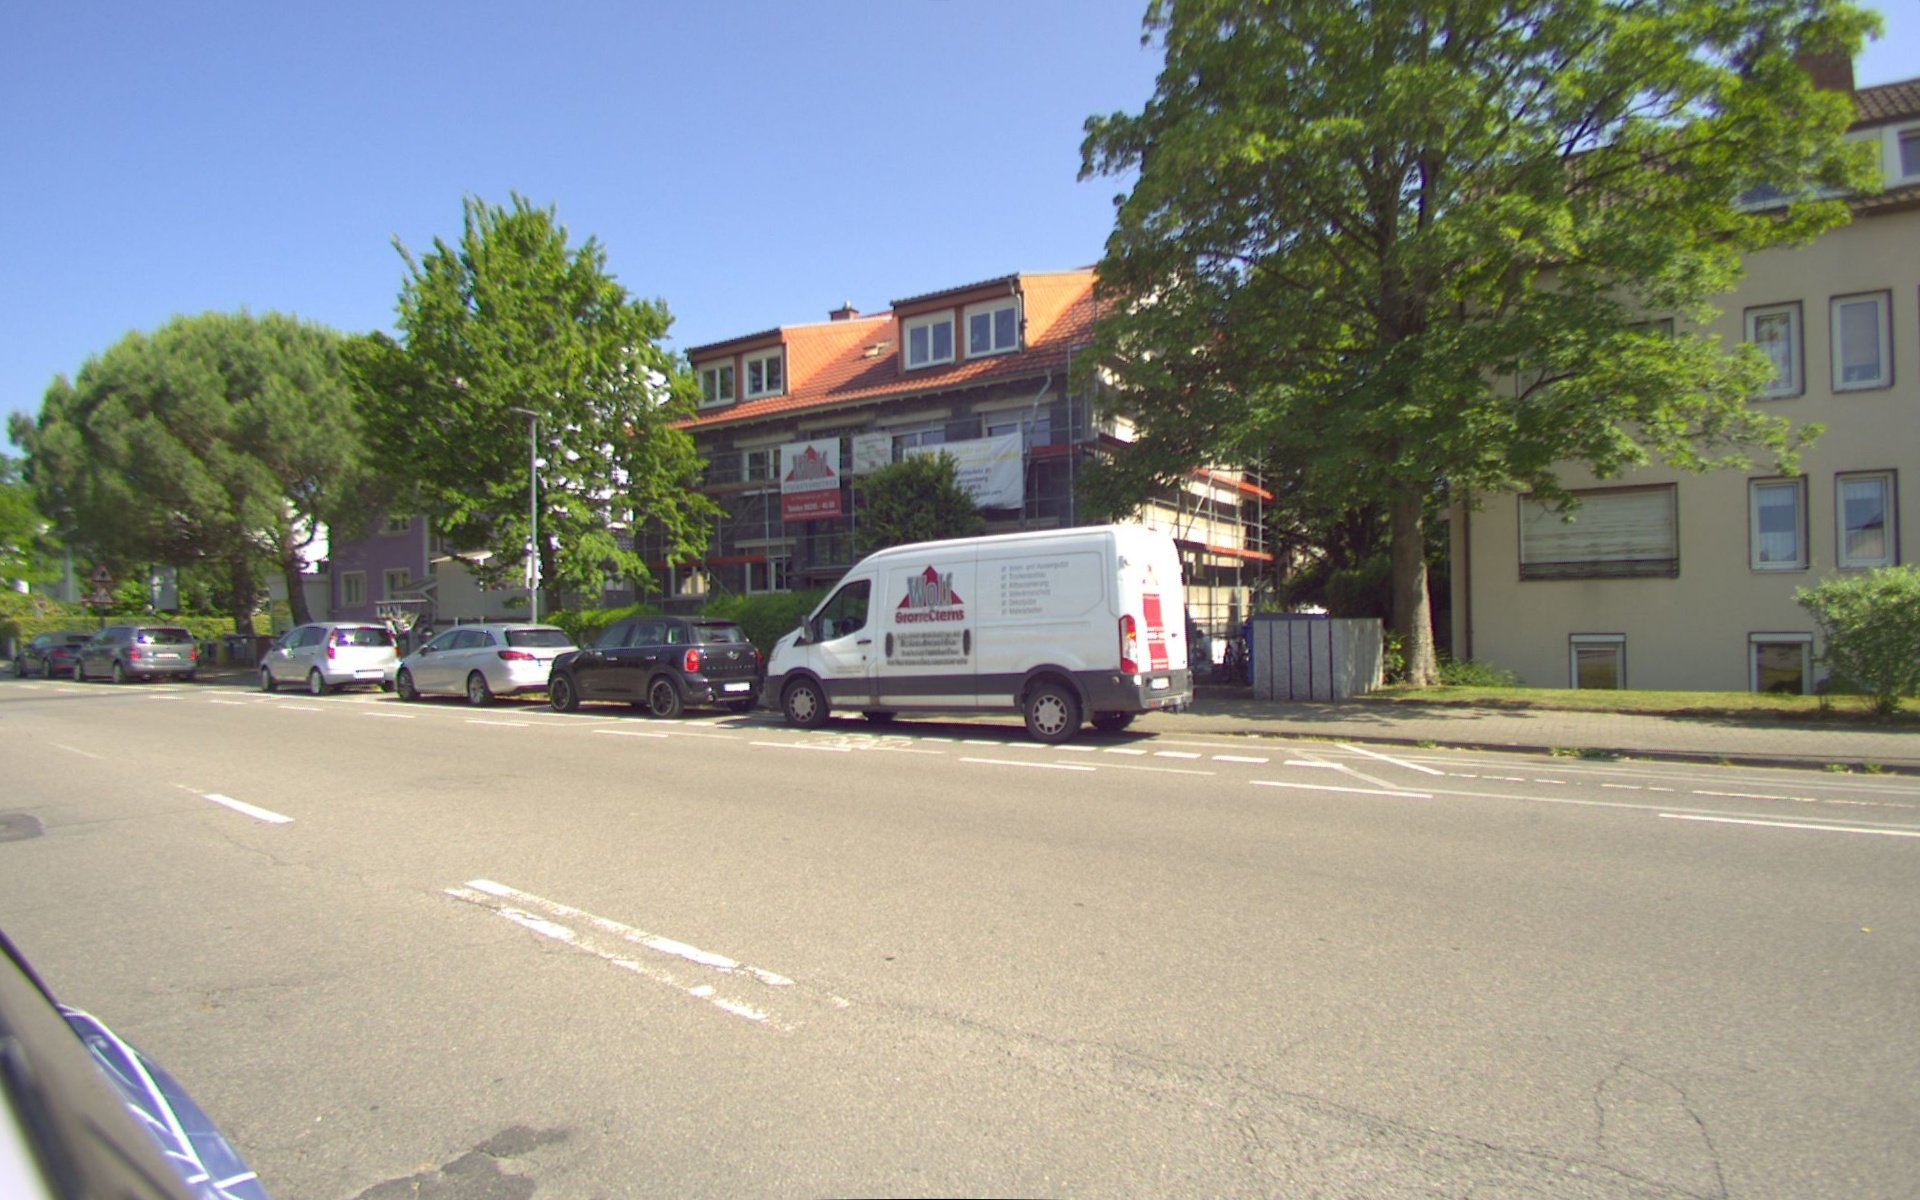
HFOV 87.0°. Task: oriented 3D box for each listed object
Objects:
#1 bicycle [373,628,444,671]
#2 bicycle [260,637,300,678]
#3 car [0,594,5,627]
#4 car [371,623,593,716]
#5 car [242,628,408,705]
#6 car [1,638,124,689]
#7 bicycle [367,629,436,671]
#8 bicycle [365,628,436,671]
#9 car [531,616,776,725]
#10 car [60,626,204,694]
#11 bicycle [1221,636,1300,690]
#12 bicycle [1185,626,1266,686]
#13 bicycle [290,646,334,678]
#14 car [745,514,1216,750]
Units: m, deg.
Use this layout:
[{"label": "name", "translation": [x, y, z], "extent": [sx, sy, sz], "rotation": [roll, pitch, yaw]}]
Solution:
[{"label": "bicycle", "translation": [-18.554, 1.646, 34.127], "extent": [0.501, 1.394, 2.156], "rotation": [-2, -3, 30]}, {"label": "bicycle", "translation": [-21.809, 1.823, 32.447], "extent": [1.909, 1.276, 0.454], "rotation": [-2, -1, 36]}, {"label": "car", "translation": [-57.532, 0.598, 57.981], "extent": [2.000, 1.830, 3.942], "rotation": [-3, -3, 43]}, {"label": "car", "translation": [-9.091, 1.271, 19.096], "extent": [4.661, 1.571, 1.705], "rotation": [-2, -3, 35]}, {"label": "car", "translation": [-14.176, 1.452, 22.529], "extent": [3.990, 1.571, 1.705], "rotation": [-2, -3, 35]}, {"label": "car", "translation": [-27.899, 1.955, 31.437], "extent": [4.181, 1.468, 1.826], "rotation": [-2, -3, 33]}, {"label": "bicycle", "translation": [-19.296, 1.715, 35.009], "extent": [0.501, 1.394, 2.156], "rotation": [-2, -3, 30]}, {"label": "bicycle", "translation": [-19.013, 1.672, 34.431], "extent": [0.501, 1.394, 2.156], "rotation": [-2, -3, 30]}, {"label": "car", "translation": [-5.004, 1.098, 16.347], "extent": [3.990, 1.571, 1.705], "rotation": [-2, -3, 35]}, {"label": "car", "translation": [-23.330, 1.670, 28.474], "extent": [4.572, 1.778, 1.826], "rotation": [-2, -3, 33]}, {"label": "bicycle", "translation": [6.413, 1.306, 21.502], "extent": [0.774, 1.008, 2.668], "rotation": [-2, -1, 35]}, {"label": "bicycle", "translation": [5.797, 1.173, 21.969], "extent": [0.774, 1.179, 2.668], "rotation": [-2, -1, 35]}, {"label": "bicycle", "translation": [-20.180, 1.925, 31.505], "extent": [1.908, 0.961, 0.454], "rotation": [-2, -2, 34]}, {"label": "car", "translation": [0.103, 0.464, 13.265], "extent": [5.931, 2.516, 2.073], "rotation": [-2, -3, 31]}]
